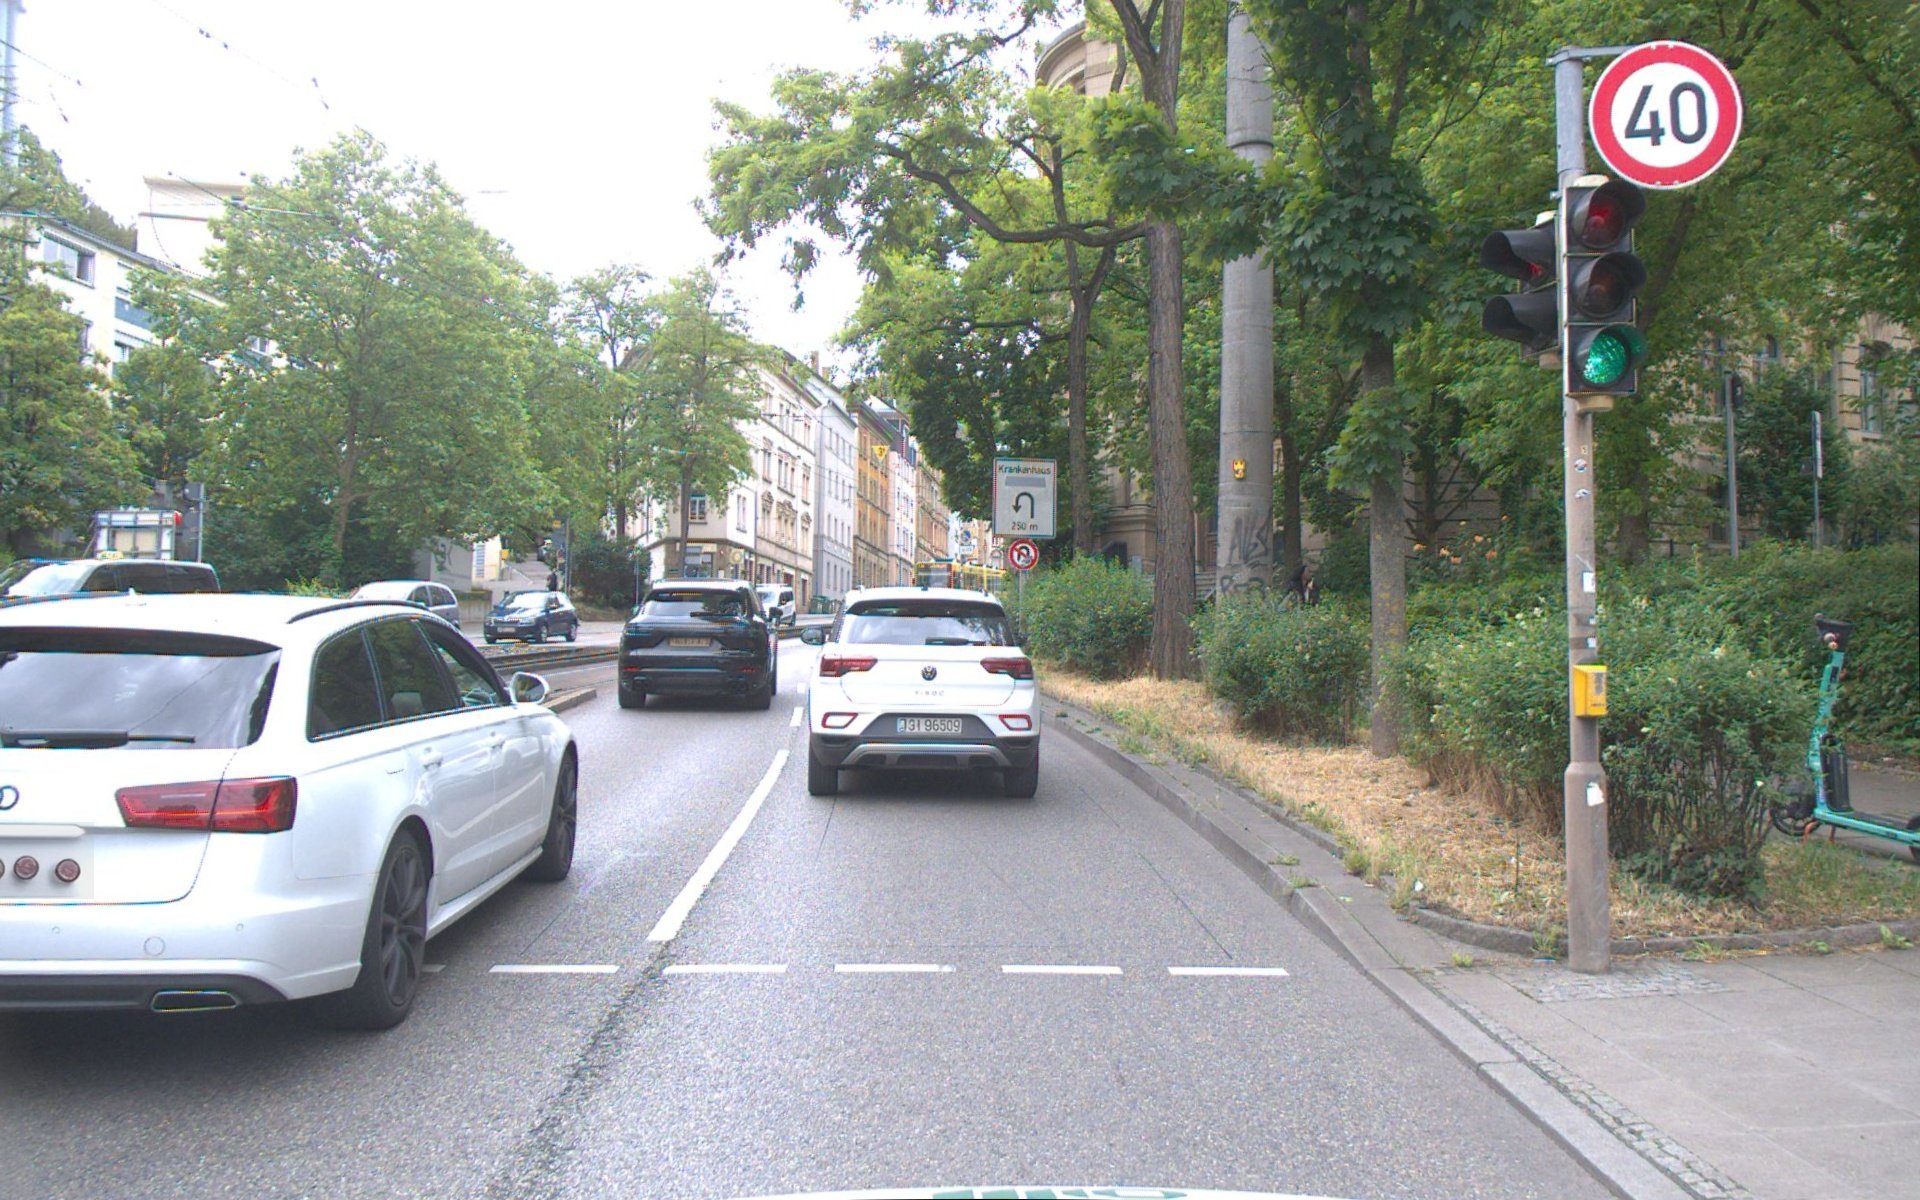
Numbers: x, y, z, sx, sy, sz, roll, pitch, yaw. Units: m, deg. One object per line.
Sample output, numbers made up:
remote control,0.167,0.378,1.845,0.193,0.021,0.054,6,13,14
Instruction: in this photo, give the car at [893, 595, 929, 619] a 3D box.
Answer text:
car,-3.309,0.458,112.976,1.951,1.579,4.003,0,0,5

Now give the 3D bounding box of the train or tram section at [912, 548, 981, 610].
train or tram section,-0.740,-1.334,110.510,2.821,3.791,14.866,2,0,6

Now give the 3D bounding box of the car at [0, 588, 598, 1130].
car,-2.812,0.699,6.811,1.841,1.480,4.614,0,0,-3

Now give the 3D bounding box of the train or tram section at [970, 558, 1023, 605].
train or tram section,3.368,-1.504,145.827,2.815,3.791,18.770,2,0,7

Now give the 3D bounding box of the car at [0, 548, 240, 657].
car,-13.931,0.028,26.986,1.951,1.633,4.613,0,0,7

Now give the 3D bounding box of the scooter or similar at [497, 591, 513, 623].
scooter or similar,-18.298,0.291,66.563,0.481,1.240,1.636,3,-1,-12

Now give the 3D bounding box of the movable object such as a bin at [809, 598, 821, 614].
movable object such as a bin,-9.754,0.421,111.635,0.672,1.092,0.677,0,0,7

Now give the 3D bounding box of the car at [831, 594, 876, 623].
car,-6.017,0.465,94.140,1.951,1.579,4.003,0,0,5

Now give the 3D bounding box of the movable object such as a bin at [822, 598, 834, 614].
movable object such as a bin,-9.267,0.420,115.851,0.712,1.092,0.672,0,0,7

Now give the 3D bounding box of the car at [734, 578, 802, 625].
car,-8.476,0.027,73.387,1.906,1.980,5.006,0,1,7

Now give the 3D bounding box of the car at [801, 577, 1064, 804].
car,-0.350,0.626,13.612,1.842,1.582,3.996,0,0,-5

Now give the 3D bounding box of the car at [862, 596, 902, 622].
car,-4.854,0.551,103.379,1.951,1.579,4.003,0,0,5

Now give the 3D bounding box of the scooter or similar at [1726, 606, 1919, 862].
scooter or similar,4.821,0.654,8.689,0.619,1.231,1.552,0,0,-14

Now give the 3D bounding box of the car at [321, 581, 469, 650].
car,-12.596,0.318,37.093,1.623,1.468,3.743,0,0,8

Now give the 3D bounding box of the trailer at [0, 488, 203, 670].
trailer,-16.537,-0.371,30.338,1.976,3.025,5.594,2,0,9

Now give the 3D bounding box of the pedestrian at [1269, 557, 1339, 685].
pedestrian,4.753,0.282,22.904,0.756,1.732,0.784,0,0,-5

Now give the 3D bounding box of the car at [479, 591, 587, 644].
car,-12.118,0.457,47.172,1.729,1.432,4.085,0,0,5

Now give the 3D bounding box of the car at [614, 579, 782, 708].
car,-3.482,0.532,22.686,1.998,1.599,4.353,0,0,-6
